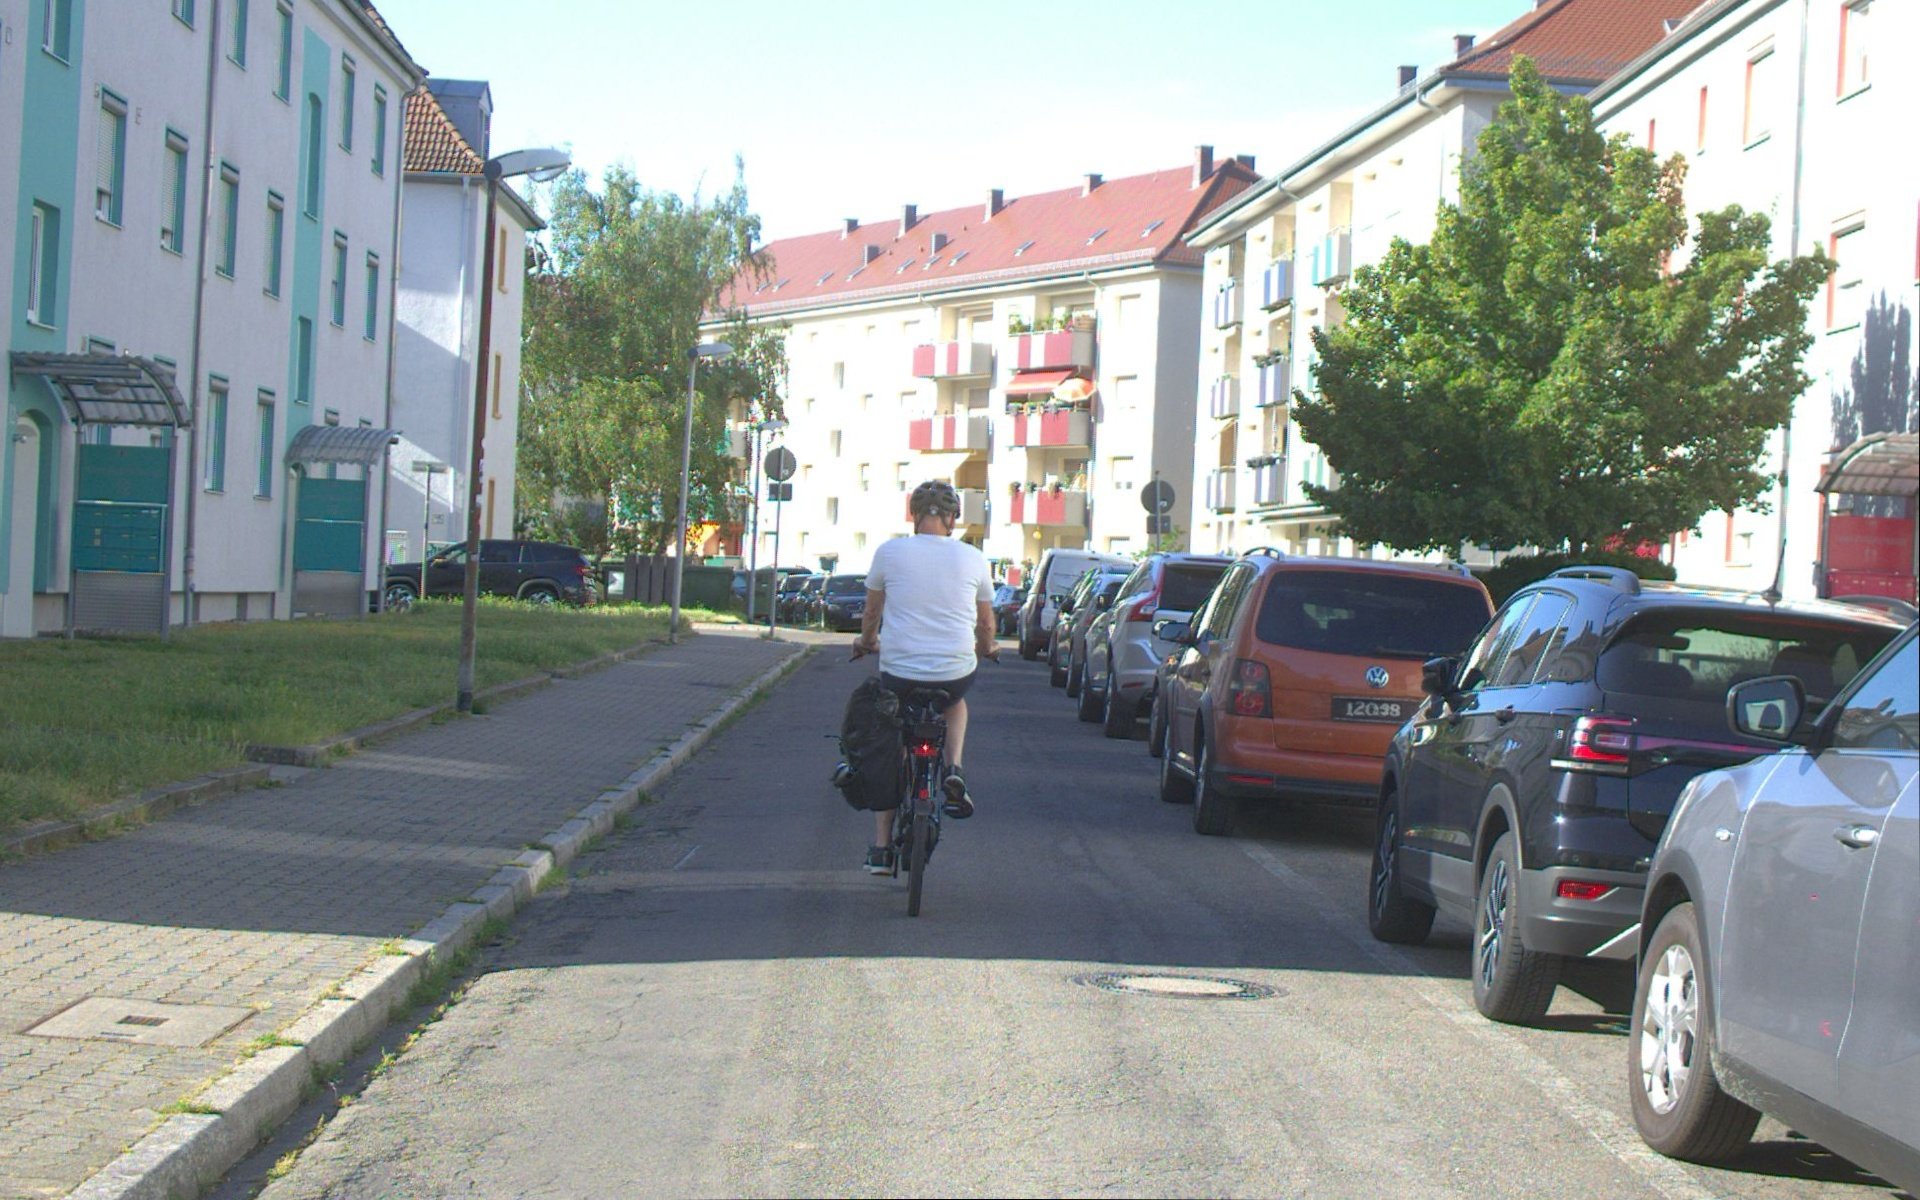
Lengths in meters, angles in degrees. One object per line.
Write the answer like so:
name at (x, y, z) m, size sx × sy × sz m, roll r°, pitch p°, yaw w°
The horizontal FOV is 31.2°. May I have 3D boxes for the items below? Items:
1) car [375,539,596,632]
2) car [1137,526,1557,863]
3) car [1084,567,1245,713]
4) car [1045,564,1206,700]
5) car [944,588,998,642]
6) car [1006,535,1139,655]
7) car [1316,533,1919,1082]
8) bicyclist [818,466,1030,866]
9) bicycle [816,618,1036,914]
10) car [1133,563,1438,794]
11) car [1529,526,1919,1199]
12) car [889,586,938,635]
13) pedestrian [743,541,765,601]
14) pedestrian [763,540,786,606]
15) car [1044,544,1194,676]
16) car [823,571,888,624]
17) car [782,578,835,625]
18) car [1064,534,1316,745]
car at (-9.489, -0.291, 68.946) m, size 4.231 × 1.633 × 1.583 m, roll 3°, pitch 1°, yaw -4°
car at (2.196, 0.495, 20.624) m, size 1.862 × 1.662 × 4.127 m, roll 5°, pitch 0°, yaw -1°
car at (2.141, 0.398, 36.611) m, size 1.391 × 1.398 × 3.244 m, roll 4°, pitch 0°, yaw -1°
car at (1.903, 0.337, 40.464) m, size 1.559 × 1.406 × 3.933 m, roll 4°, pitch 1°, yaw -1°
car at (0.316, 0.441, 104.135) m, size 1.381 × 1.492 × 3.077 m, roll 4°, pitch 1°, yaw -3°
car at (1.753, -0.105, 54.716) m, size 1.674 × 1.733 × 3.943 m, roll 4°, pitch 1°, yaw -3°
car at (2.542, 0.644, 12.964) m, size 1.712 × 1.590 × 4.398 m, roll 6°, pitch 1°, yaw -1°
bicyclist at (-0.168, 0.273, 14.765) m, size 0.808 × 1.638 × 0.899 m, roll 2°, pitch 0°, yaw -3°
bicycle at (-0.180, 0.672, 14.807) m, size 0.808 × 1.124 × 2.102 m, roll 2°, pitch 0°, yaw -3°
car at (2.384, 0.533, 26.083) m, size 1.618 × 1.455 × 3.841 m, roll 6°, pitch 0°, yaw -3°
car at (2.700, 0.724, 7.758) m, size 1.750 × 1.612 × 4.452 m, roll 5°, pitch 1°, yaw -3°
car at (-1.594, 0.345, 116.878) m, size 1.469 × 1.511 × 3.077 m, roll 4°, pitch 1°, yaw -3°
pedestrian at (-5.025, -0.711, 83.780) m, size 0.434 × 1.422 × 0.543 m, roll 3°, pitch 1°, yaw -1°
pedestrian at (-4.522, -0.663, 83.871) m, size 0.434 × 1.569 × 0.543 m, roll 3°, pitch 1°, yaw -1°
car at (2.062, 0.104, 45.366) m, size 1.558 × 1.571 × 3.366 m, roll 4°, pitch 1°, yaw -3°
car at (-2.683, -0.081, 87.741) m, size 1.469 × 1.331 × 3.141 m, roll 0°, pitch 1°, yaw -5°
car at (-4.367, 0.032, 98.766) m, size 1.469 × 1.331 × 3.141 m, roll 0°, pitch 1°, yaw -4°
car at (2.023, 0.305, 31.395) m, size 1.700 × 1.665 × 4.380 m, roll 5°, pitch 1°, yaw -2°
